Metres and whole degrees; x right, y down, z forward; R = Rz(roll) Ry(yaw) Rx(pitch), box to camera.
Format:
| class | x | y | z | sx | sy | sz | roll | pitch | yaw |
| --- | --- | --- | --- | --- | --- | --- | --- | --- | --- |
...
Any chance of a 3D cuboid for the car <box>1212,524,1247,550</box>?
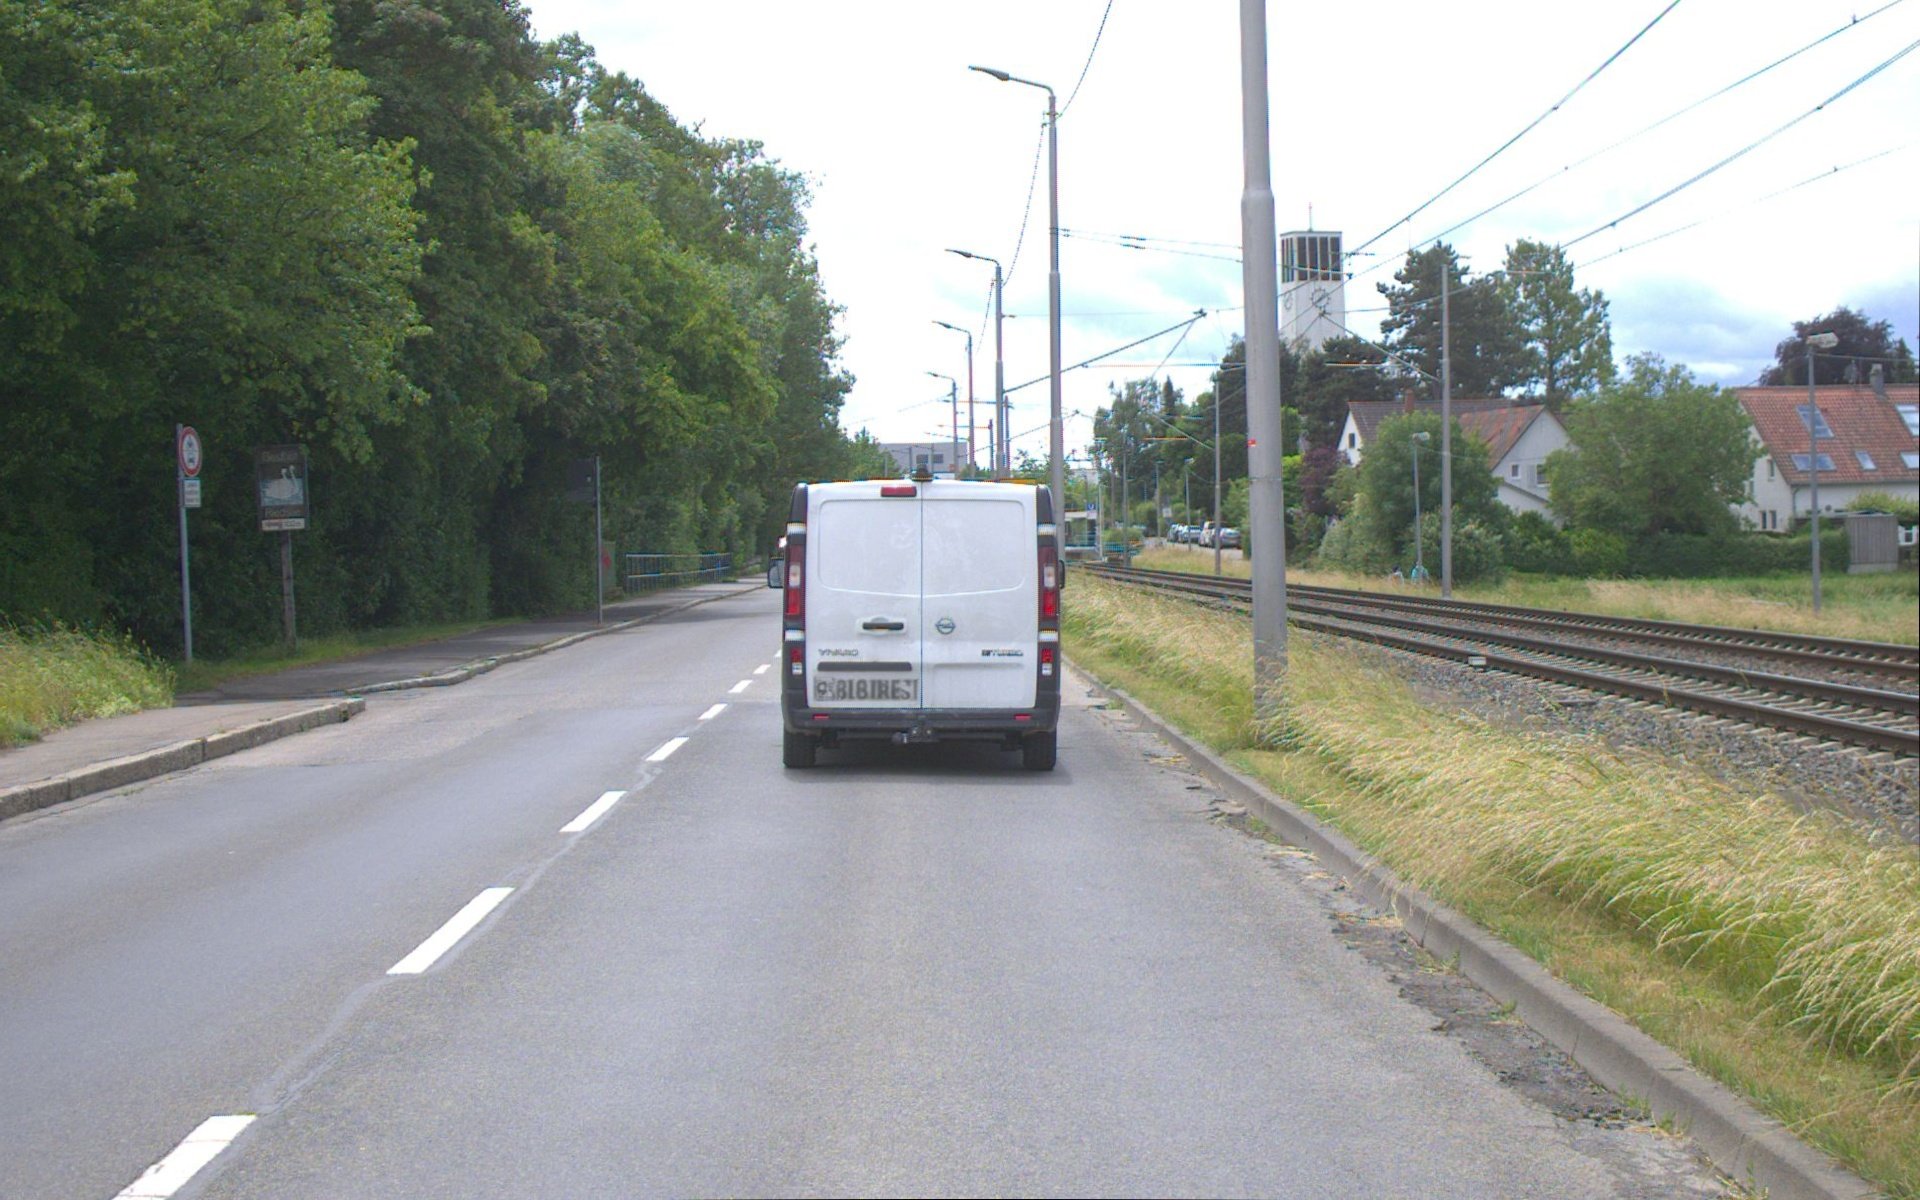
| class | x | y | z | sx | sy | sz | roll | pitch | yaw |
| --- | --- | --- | --- | --- | --- | --- | --- | --- | --- |
| car | 19.186 | -4.449 | 244.695 | 1.993 | 1.711 | 4.000 | 1 | -1 | -2 |

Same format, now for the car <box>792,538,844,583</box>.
| class | x | y | z | sx | sy | sz | roll | pitch | yaw |
| --- | --- | --- | --- | --- | --- | --- | --- | --- | --- |
| car | -5.511 | -1.534 | 133.652 | 1.993 | 1.711 | 4.124 | -1 | 1 | -2 |

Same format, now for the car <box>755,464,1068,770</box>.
| class | x | y | z | sx | sy | sz | roll | pitch | yaw |
| --- | --- | --- | --- | --- | --- | --- | --- | --- | --- |
| car | -0.381 | 0.083 | 24.162 | 1.993 | 1.950 | 4.000 | 1 | 1 | -2 |

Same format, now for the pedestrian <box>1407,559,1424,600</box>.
| class | x | y | z | sx | sy | sz | roll | pitch | yaw |
| --- | --- | --- | --- | --- | --- | --- | --- | --- | --- |
| pedestrian | 16.882 | -0.768 | 127.453 | 0.526 | 1.501 | 0.657 | -1 | 1 | -1 |

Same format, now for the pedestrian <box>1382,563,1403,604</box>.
| class | x | y | z | sx | sy | sz | roll | pitch | yaw |
| --- | --- | --- | --- | --- | --- | --- | --- | --- | --- |
| pedestrian | 16.056 | -0.622 | 127.608 | 0.656 | 1.501 | 0.657 | -1 | 1 | -1 |
